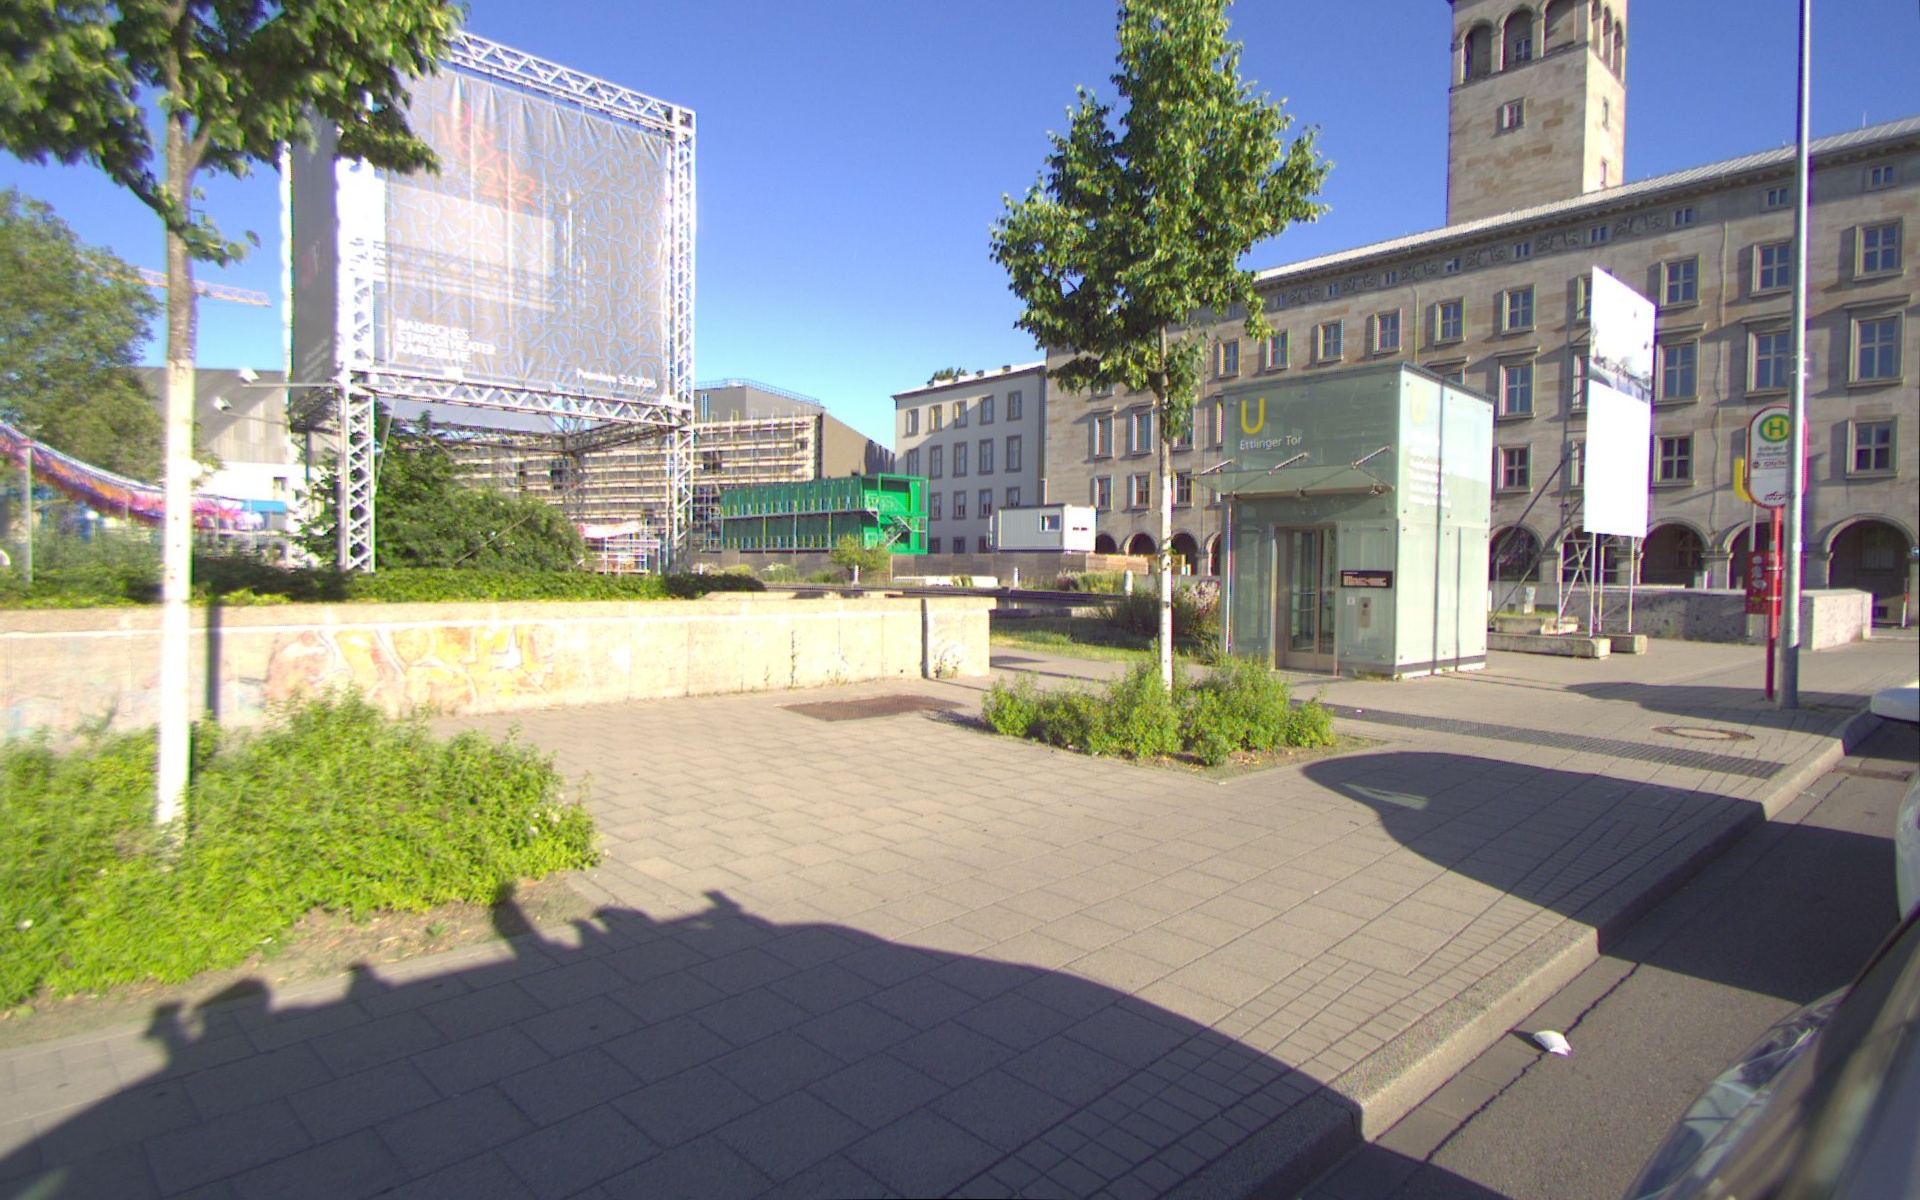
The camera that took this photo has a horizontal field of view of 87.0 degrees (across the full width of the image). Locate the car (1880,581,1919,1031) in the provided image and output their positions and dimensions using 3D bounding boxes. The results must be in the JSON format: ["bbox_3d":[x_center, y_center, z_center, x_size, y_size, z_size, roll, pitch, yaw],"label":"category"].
[{"bbox_3d":[5.127,0.658,4.064,3.900,1.490,1.658,-1,0,-41],"label":"car"}]
